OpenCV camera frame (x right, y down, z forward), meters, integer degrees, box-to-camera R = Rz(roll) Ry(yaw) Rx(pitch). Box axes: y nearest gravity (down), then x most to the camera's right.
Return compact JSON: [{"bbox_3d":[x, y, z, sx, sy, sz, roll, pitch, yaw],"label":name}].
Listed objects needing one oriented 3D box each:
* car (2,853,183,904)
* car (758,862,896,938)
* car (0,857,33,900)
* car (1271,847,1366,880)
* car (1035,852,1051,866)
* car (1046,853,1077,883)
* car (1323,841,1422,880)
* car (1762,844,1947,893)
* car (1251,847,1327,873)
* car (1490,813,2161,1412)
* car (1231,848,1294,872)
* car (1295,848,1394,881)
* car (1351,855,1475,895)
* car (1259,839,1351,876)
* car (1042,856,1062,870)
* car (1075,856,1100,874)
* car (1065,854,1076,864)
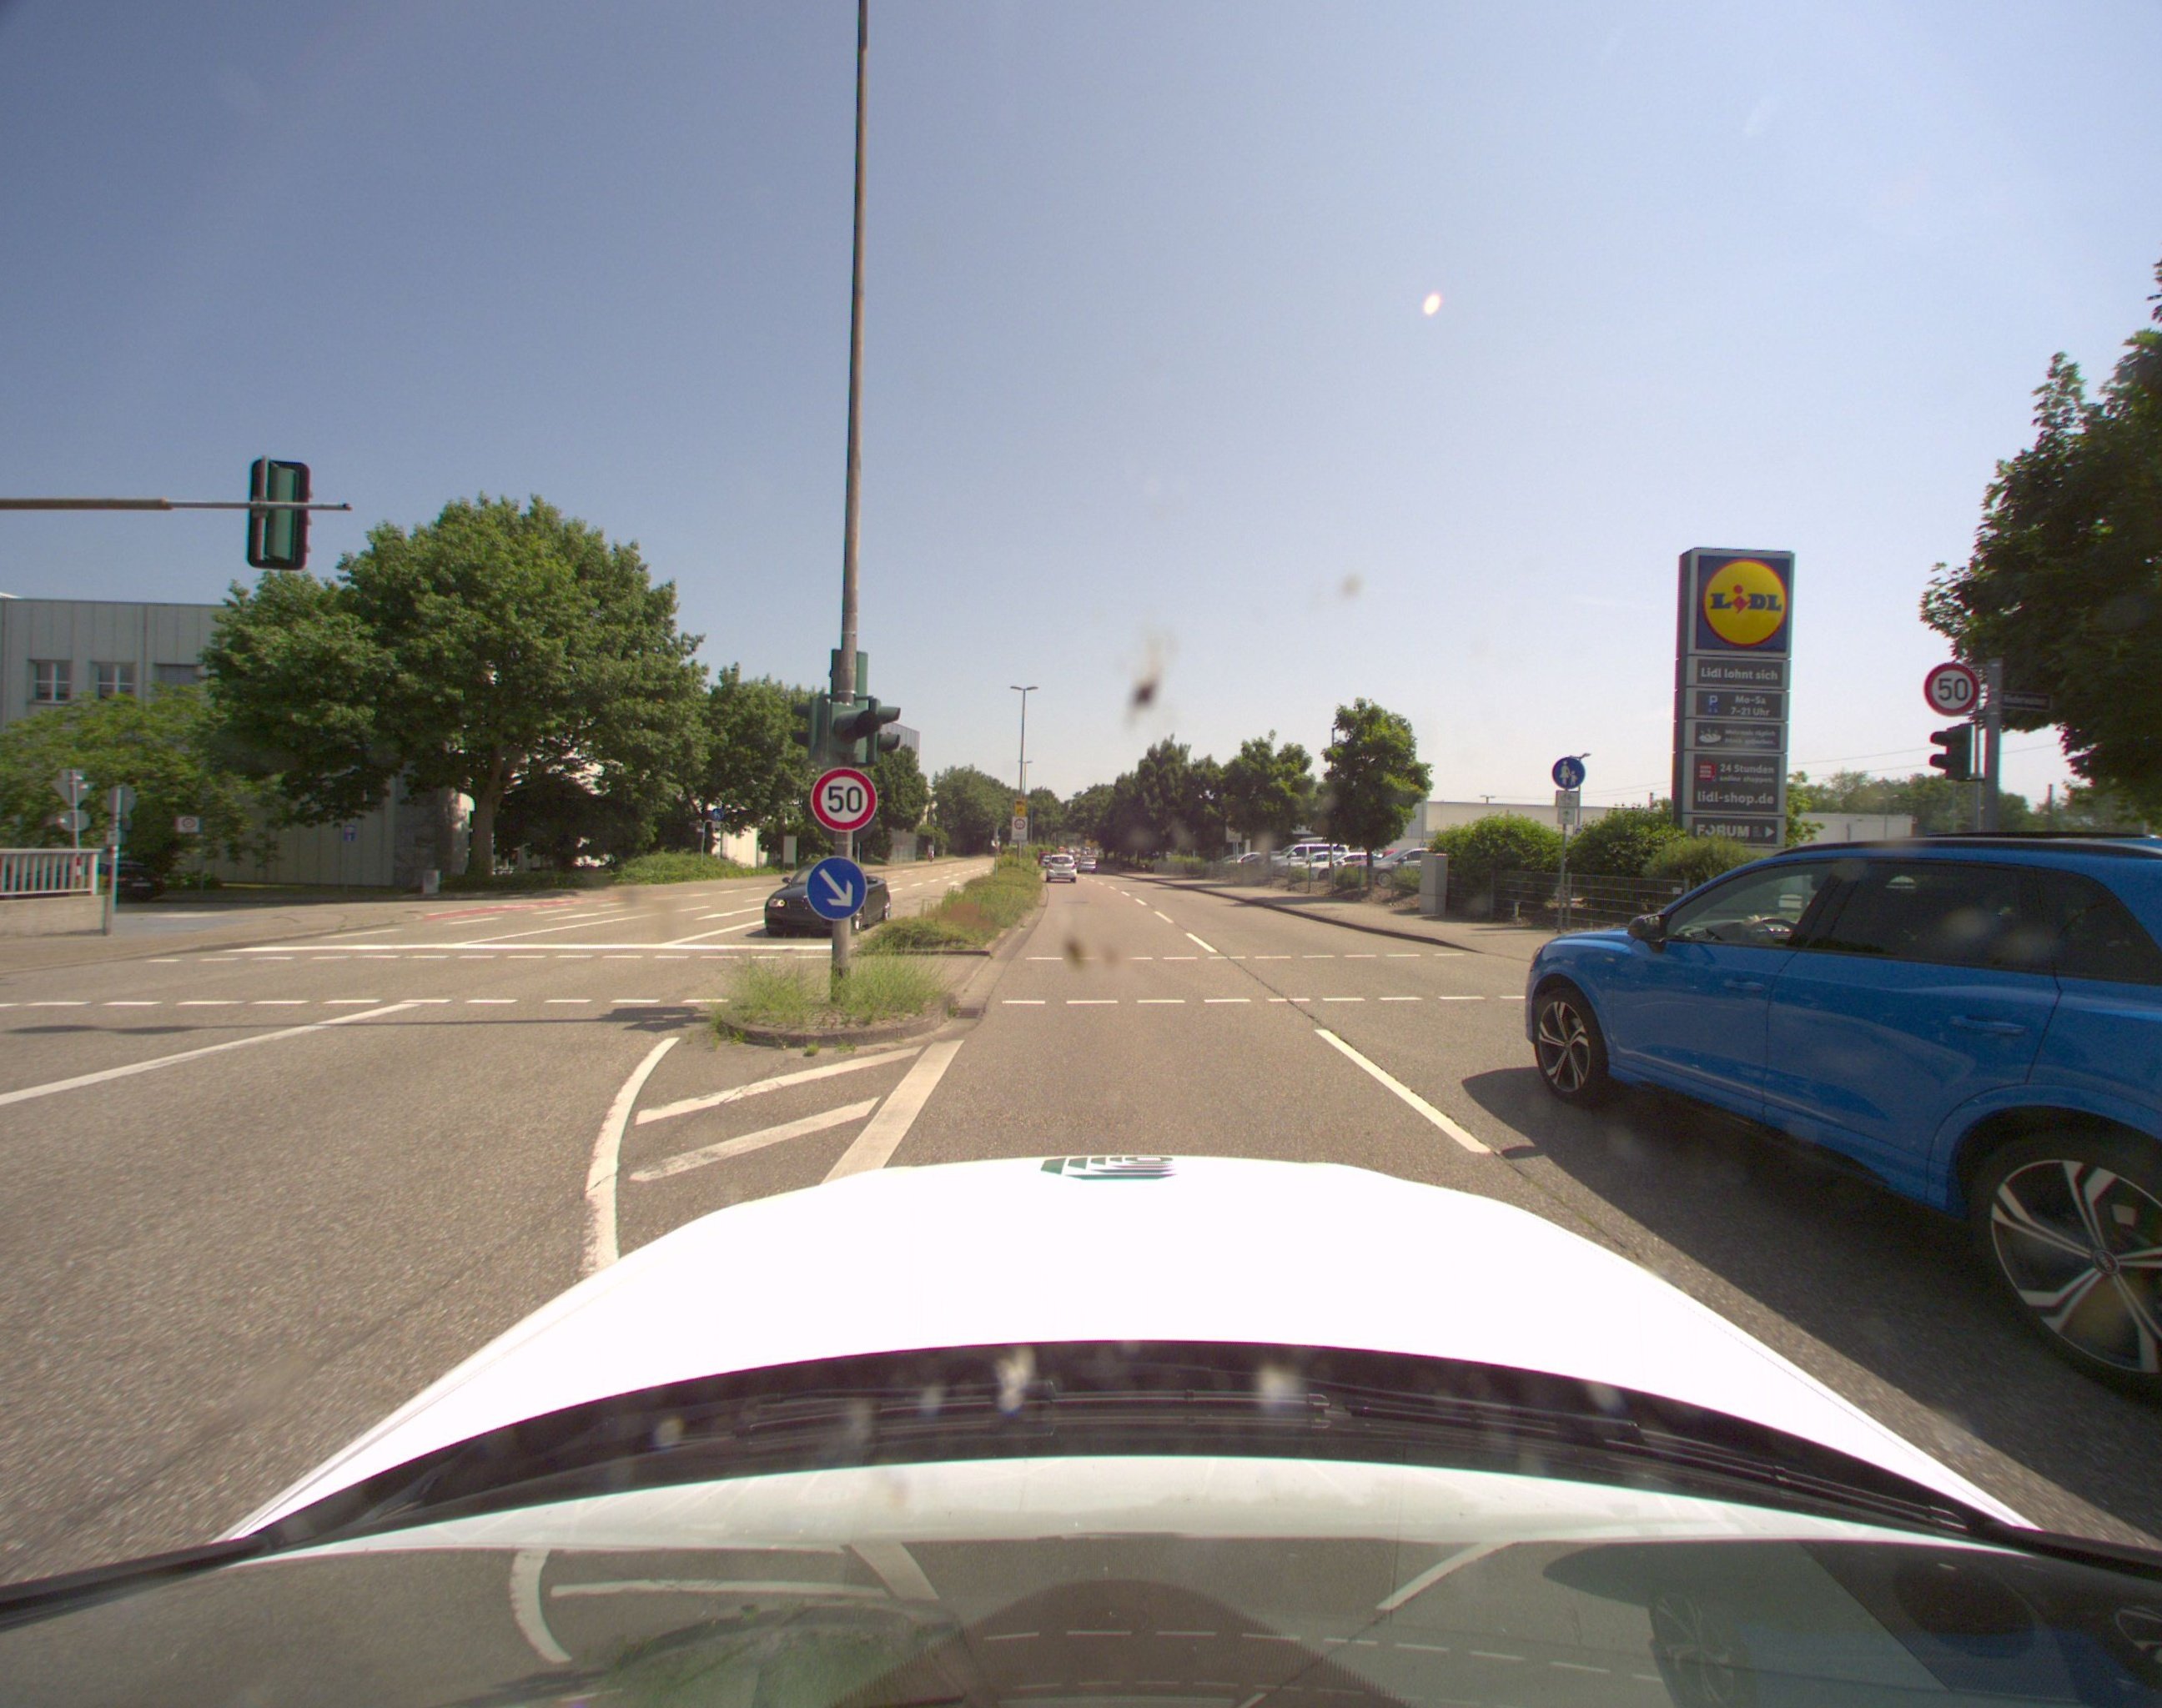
[{"bbox_3d":[-35.083,0.842,28.994,3.975,1.595,1.919,2,0,-1],"label":"car"},{"bbox_3d":[-5.036,0.836,16.716,1.725,1.323,4.144,0,0,-3],"label":"car"},{"bbox_3d":[-41.034,0.902,29.441,3.975,1.530,1.715,0,0,-1],"label":"car"},{"bbox_3d":[12.262,0.490,42.213,4.354,1.593,1.826,1,0,-1],"label":"car"},{"bbox_3d":[-4.713,0.615,100.254,1.881,1.608,3.994,0,0,-4],"label":"car"},{"bbox_3d":[-1.114,0.757,46.086,1.634,1.552,3.322,2,0,-2],"label":"car"},{"bbox_3d":[12.361,0.263,34.598,3.585,1.537,1.719,1,0,-7],"label":"car"},{"bbox_3d":[23.552,0.428,25.037,1.731,1.394,4.076,0,-1,-3],"label":"car"},{"bbox_3d":[12.170,0.355,47.870,3.977,1.389,1.825,1,0,-3],"label":"car"},{"bbox_3d":[3.822,0.669,3.762,1.802,1.592,4.351,-1,0,2],"label":"car"},{"bbox_3d":[13.052,0.409,58.684,3.983,1.596,1.823,2,0,-7],"label":"car"},{"bbox_3d":[12.154,0.474,37.683,3.987,1.421,1.696,1,0,-3],"label":"car"},{"bbox_3d":[12.838,0.786,31.654,4.157,1.421,1.697,1,0,-1],"label":"car"},{"bbox_3d":[12.364,0.212,45.092,4.605,1.924,1.825,1,0,-3],"label":"car"},{"bbox_3d":[-3.040,0.971,85.179,1.881,1.354,3.994,2,0,-5],"label":"car"},{"bbox_3d":[0.559,1.014,75.776,1.863,1.473,3.992,2,0,-6],"label":"car"},{"bbox_3d":[-1.466,0.745,113.959,1.438,1.348,3.455,0,0,-4],"label":"car"}]
